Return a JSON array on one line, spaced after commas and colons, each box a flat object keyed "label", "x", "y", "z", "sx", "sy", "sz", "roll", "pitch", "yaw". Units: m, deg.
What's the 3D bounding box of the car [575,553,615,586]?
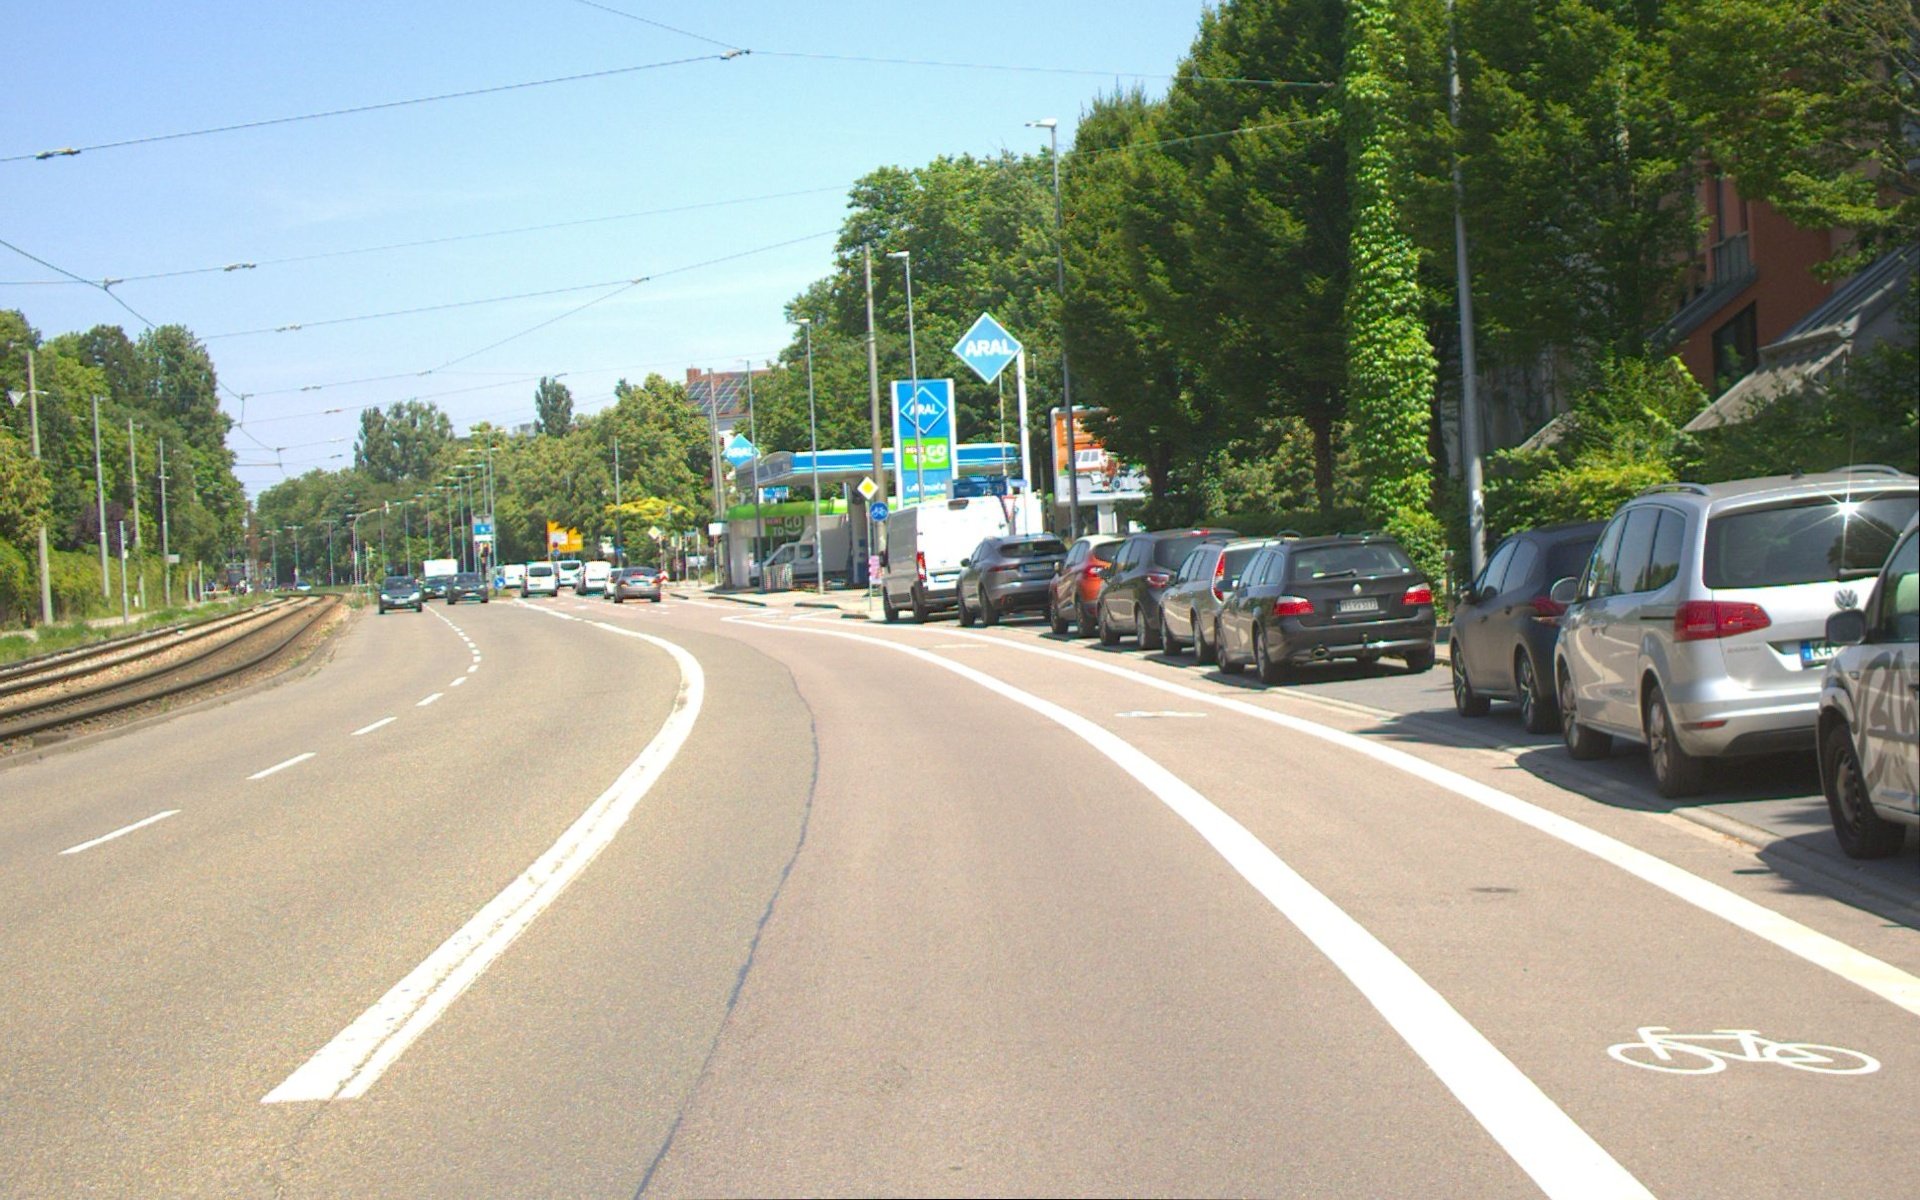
[{"label": "car", "x": -19.565, "y": -1.639, "z": 184.276, "sx": 1.755, "sy": 1.625, "sz": 4.325, "roll": -5, "pitch": 1, "yaw": -9}]

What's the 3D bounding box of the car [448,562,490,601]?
[{"label": "car", "x": -23.272, "y": -0.885, "z": 162.717, "sx": 1.755, "sy": 1.625, "sz": 4.325, "roll": -5, "pitch": 1, "yaw": -9}]

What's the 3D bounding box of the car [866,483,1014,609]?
[{"label": "car", "x": -0.490, "y": -1.158, "z": 74.513, "sx": 2.000, "sy": 2.448, "sz": 6.111, "roll": -5, "pitch": 1, "yaw": -10}]

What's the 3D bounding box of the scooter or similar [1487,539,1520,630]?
[{"label": "scooter or similar", "x": 6.261, "y": -0.186, "z": 39.586, "sx": 0.334, "sy": 1.028, "sz": 1.082, "roll": 0, "pitch": 1, "yaw": 11}]

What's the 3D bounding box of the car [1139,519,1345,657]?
[{"label": "car", "x": 3.483, "y": -0.186, "z": 43.301, "sx": 1.706, "sy": 1.487, "sz": 4.732, "roll": -5, "pitch": 1, "yaw": -5}]

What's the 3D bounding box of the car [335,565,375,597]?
[{"label": "car", "x": -34.067, "y": -1.059, "z": 193.568, "sx": 1.755, "sy": 1.625, "sz": 4.325, "roll": -6, "pitch": 2, "yaw": -14}]

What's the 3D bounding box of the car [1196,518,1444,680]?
[{"label": "car", "x": 3.818, "y": -0.062, "z": 37.314, "sx": 1.706, "sy": 1.487, "sz": 5.039, "roll": -5, "pitch": 1, "yaw": -4}]

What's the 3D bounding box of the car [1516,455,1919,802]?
[{"label": "car", "x": 4.671, "y": 0.075, "z": 20.451, "sx": 1.841, "sy": 1.688, "sz": 4.779, "roll": -5, "pitch": 1, "yaw": 0}]

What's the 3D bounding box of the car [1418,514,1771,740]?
[{"label": "car", "x": 4.659, "y": 0.140, "z": 25.819, "sx": 1.583, "sy": 1.418, "sz": 4.181, "roll": -5, "pitch": 1, "yaw": -3}]

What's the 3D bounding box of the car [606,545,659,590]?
[{"label": "car", "x": -13.431, "y": -1.337, "z": 140.770, "sx": 1.755, "sy": 1.625, "sz": 4.325, "roll": -5, "pitch": 1, "yaw": -9}]

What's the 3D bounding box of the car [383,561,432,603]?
[{"label": "car", "x": -22.187, "y": -0.731, "z": 138.088, "sx": 1.755, "sy": 1.504, "sz": 4.325, "roll": -5, "pitch": 1, "yaw": -9}]

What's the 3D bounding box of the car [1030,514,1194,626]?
[{"label": "car", "x": 2.357, "y": -0.484, "z": 54.413, "sx": 1.706, "sy": 1.557, "sz": 4.325, "roll": -5, "pitch": 1, "yaw": -8}]

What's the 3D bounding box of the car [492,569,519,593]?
[{"label": "car", "x": -34.053, "y": -1.425, "z": 257.289, "sx": 1.755, "sy": 1.625, "sz": 4.325, "roll": -5, "pitch": 1, "yaw": -9}]

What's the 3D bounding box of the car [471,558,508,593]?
[{"label": "car", "x": -24.583, "y": -1.298, "z": 179.880, "sx": 1.755, "sy": 1.625, "sz": 4.325, "roll": -5, "pitch": 1, "yaw": -7}]

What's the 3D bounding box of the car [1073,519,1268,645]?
[{"label": "car", "x": 2.909, "y": -0.270, "z": 48.498, "sx": 1.706, "sy": 1.557, "sz": 4.325, "roll": -5, "pitch": 1, "yaw": -9}]

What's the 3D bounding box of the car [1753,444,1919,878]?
[{"label": "car", "x": 4.836, "y": 0.187, "z": 14.266, "sx": 1.840, "sy": 1.787, "sz": 4.354, "roll": -5, "pitch": 1, "yaw": -1}]

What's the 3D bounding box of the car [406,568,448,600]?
[{"label": "car", "x": -29.363, "y": -0.877, "z": 189.246, "sx": 1.755, "sy": 1.625, "sz": 4.325, "roll": -6, "pitch": 2, "yaw": -14}]

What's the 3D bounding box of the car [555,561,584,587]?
[{"label": "car", "x": -27.527, "y": -1.848, "z": 242.235, "sx": 1.755, "sy": 1.625, "sz": 4.325, "roll": -5, "pitch": 1, "yaw": -9}]

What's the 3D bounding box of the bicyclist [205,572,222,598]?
[{"label": "bicyclist", "x": -46.022, "y": -0.924, "z": 211.906, "sx": 0.681, "sy": 1.568, "sz": 0.795, "roll": -7, "pitch": 1, "yaw": -2}]

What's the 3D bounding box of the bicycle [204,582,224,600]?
[{"label": "bicycle", "x": -45.981, "y": -0.550, "z": 211.902, "sx": 0.681, "sy": 1.050, "sz": 2.009, "roll": -7, "pitch": 1, "yaw": -2}]

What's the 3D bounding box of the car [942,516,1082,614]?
[{"label": "car", "x": 0.933, "y": -0.657, "z": 64.395, "sx": 1.755, "sy": 1.625, "sz": 4.325, "roll": -5, "pitch": 1, "yaw": -9}]

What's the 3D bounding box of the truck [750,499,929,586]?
[{"label": "truck", "x": -5.567, "y": -2.666, "z": 158.508, "sx": 7.967, "sy": 3.590, "sz": 2.663, "roll": -3, "pitch": 1, "yaw": -3}]

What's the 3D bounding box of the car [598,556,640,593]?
[{"label": "car", "x": -16.479, "y": -1.240, "z": 166.152, "sx": 1.755, "sy": 1.625, "sz": 4.325, "roll": -5, "pitch": 1, "yaw": -7}]

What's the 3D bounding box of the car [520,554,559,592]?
[{"label": "car", "x": -22.347, "y": -1.433, "z": 182.609, "sx": 1.755, "sy": 1.868, "sz": 4.325, "roll": -5, "pitch": 1, "yaw": -9}]
